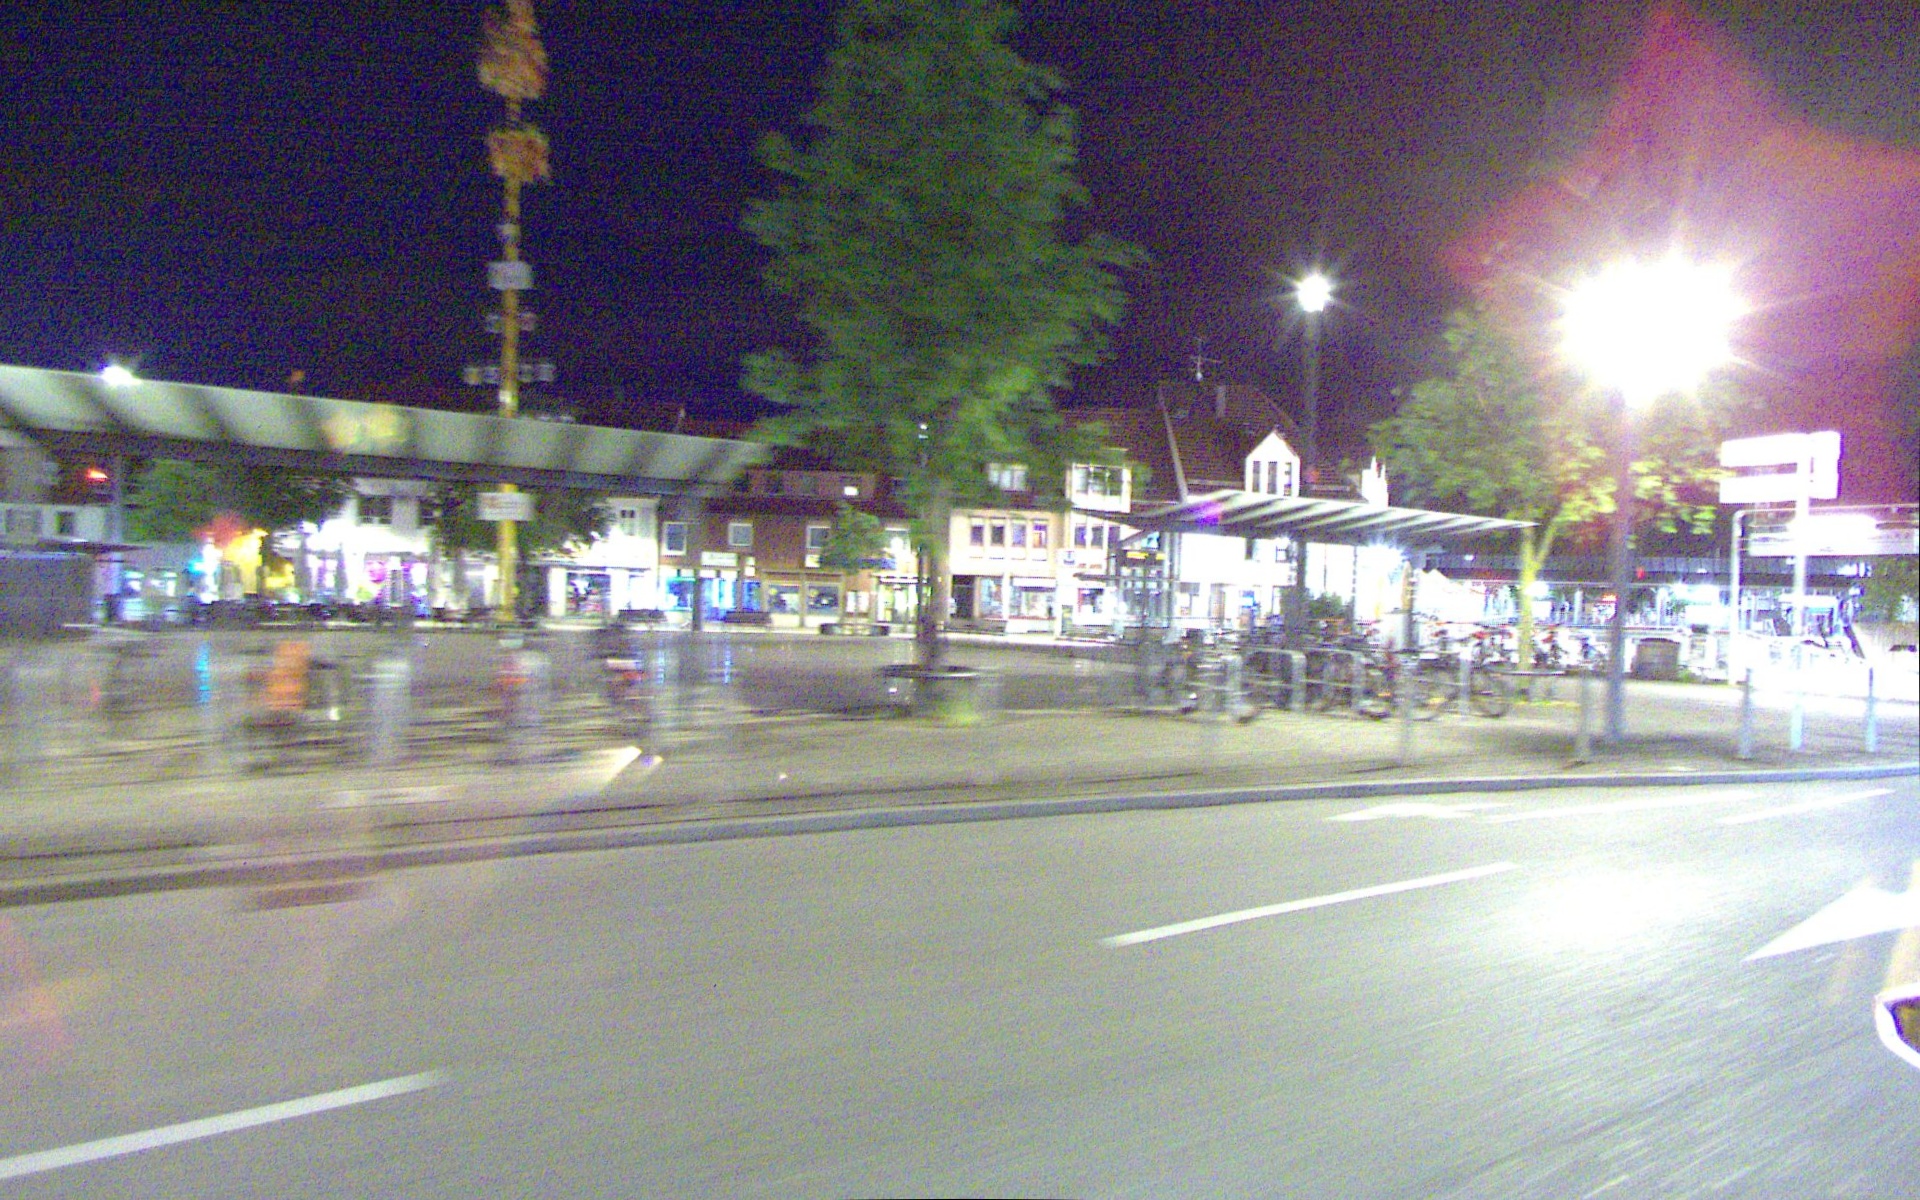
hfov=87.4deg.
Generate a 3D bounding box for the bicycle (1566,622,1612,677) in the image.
[{"bbox_3d":[14.409,1.102,23.042,0.747,1.177,1.744,0,0,28],"label":"bicycle"}]

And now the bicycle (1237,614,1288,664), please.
[{"bbox_3d":[7.993,1.009,26.508,0.600,1.235,1.737,0,0,42],"label":"bicycle"}]

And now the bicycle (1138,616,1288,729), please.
[{"bbox_3d":[2.915,0.798,11.741,0.662,1.179,1.761,1,0,-29],"label":"bicycle"}]

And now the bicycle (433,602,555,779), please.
[{"bbox_3d":[-3.731,0.657,8.090,0.776,1.173,1.729,2,2,-24],"label":"bicycle"}]

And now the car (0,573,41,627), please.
[{"bbox_3d":[-35.361,0.000,35.825,1.928,1.963,4.404,0,0,-15],"label":"car"}]

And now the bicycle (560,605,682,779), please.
[{"bbox_3d":[-2.830,0.682,8.273,0.776,1.182,1.729,1,3,-24],"label":"bicycle"}]

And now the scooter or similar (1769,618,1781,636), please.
[{"bbox_3d":[62.408,2.056,76.931,0.423,1.302,1.146,0,0,25],"label":"scooter or similar"}]

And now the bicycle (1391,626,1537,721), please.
[{"bbox_3d":[6.654,0.939,13.331,0.662,1.120,1.608,2,0,-29],"label":"bicycle"}]

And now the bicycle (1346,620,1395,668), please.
[{"bbox_3d":[10.370,1.092,25.367,0.600,1.115,1.737,0,0,42],"label":"bicycle"}]

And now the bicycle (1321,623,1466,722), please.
[{"bbox_3d":[5.498,0.892,12.828,0.662,1.120,1.608,2,0,-29],"label":"bicycle"}]

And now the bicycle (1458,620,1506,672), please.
[{"bbox_3d":[12.550,1.089,24.134,0.600,1.181,1.737,0,0,42],"label":"bicycle"}]

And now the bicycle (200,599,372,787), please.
[{"bbox_3d":[-5.098,0.636,7.720,0.776,1.173,1.828,2,2,-24],"label":"bicycle"}]

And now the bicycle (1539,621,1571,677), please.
[{"bbox_3d":[13.556,1.093,22.906,0.535,1.170,1.744,0,0,28],"label":"bicycle"}]

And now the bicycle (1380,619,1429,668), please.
[{"bbox_3d":[10.948,1.052,24.721,0.600,1.140,1.737,0,0,42],"label":"bicycle"}]

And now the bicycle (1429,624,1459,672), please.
[{"bbox_3d":[11.659,1.133,24.229,0.597,1.084,1.746,0,0,24],"label":"bicycle"}]

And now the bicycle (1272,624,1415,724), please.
[{"bbox_3d":[4.774,0.890,12.598,0.662,1.120,1.608,2,0,-29],"label":"bicycle"}]

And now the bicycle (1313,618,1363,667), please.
[{"bbox_3d":[9.585,1.054,25.456,0.600,1.181,1.737,0,0,42],"label":"bicycle"}]

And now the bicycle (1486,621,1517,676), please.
[{"bbox_3d":[12.408,1.094,23.049,0.598,1.181,1.744,0,0,28],"label":"bicycle"}]

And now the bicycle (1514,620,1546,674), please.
[{"bbox_3d":[13.354,1.089,23.556,0.598,1.181,1.744,0,0,28],"label":"bicycle"}]
